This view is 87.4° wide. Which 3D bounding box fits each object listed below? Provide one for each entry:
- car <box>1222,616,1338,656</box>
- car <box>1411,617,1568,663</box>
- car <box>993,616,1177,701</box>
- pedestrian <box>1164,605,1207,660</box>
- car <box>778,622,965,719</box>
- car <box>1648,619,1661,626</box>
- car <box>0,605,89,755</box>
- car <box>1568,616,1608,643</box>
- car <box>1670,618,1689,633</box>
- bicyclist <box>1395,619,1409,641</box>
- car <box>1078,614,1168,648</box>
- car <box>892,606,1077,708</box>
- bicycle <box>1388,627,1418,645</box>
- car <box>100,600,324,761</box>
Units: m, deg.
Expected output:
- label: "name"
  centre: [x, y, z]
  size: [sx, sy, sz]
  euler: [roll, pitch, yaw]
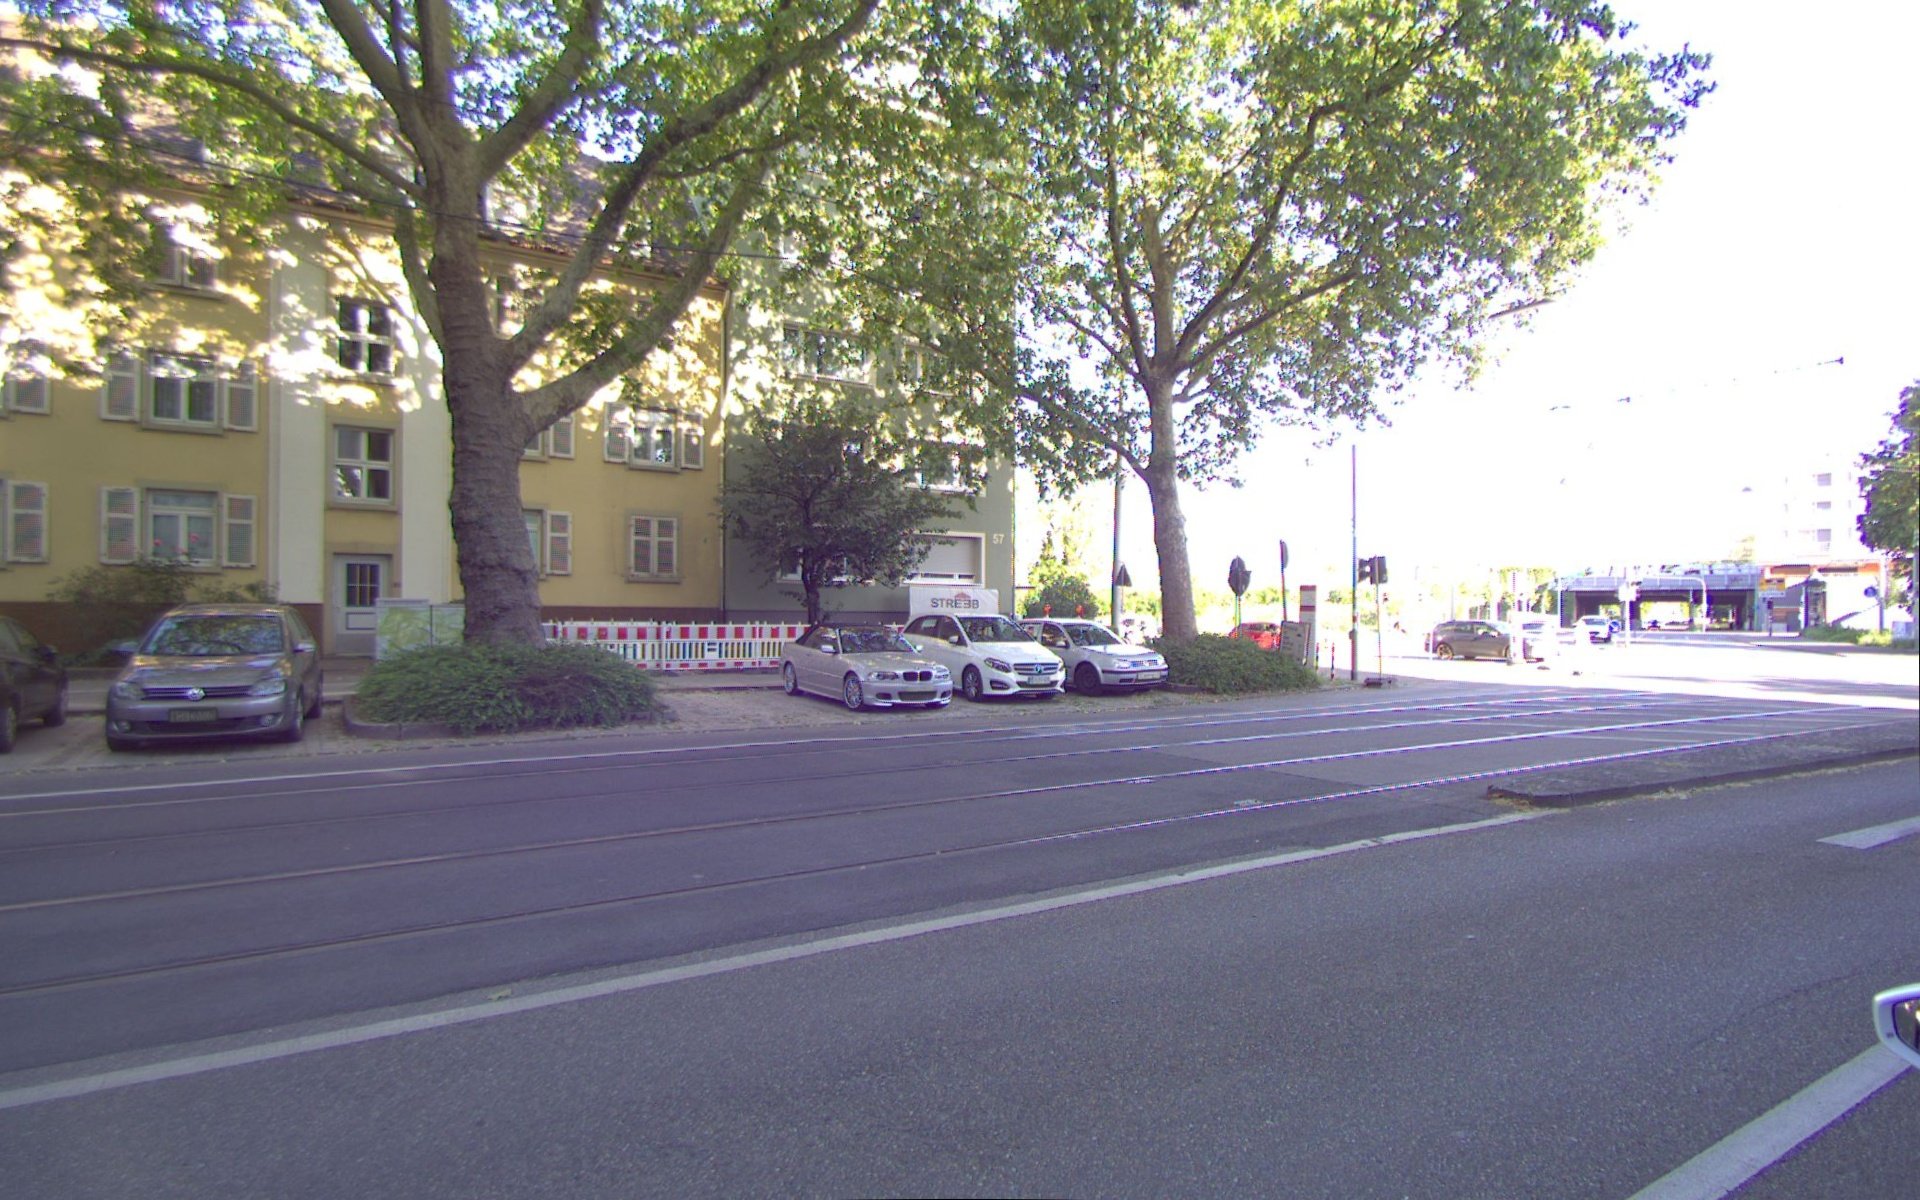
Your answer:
- label: "car"
  centre: [13.892, 1.531, 43.691]
  size: [4.419, 1.586, 2.015]
  euler: [0, -1, 37]
- label: "car"
  centre: [18.821, 1.374, 35.918]
  size: [1.916, 1.493, 4.705]
  euler: [1, -1, -29]
- label: "car"
  centre: [2.442, 1.112, 20.529]
  size: [1.651, 1.473, 3.949]
  euler: [1, 0, -31]
- label: "pedestrian"
  centre: [6.930, 0.993, 30.890]
  size: [0.919, 1.669, 0.841]
  euler: [2, 0, -30]
- label: "car"
  centre: [-1.649, 1.110, 17.309]
  size: [1.651, 1.370, 3.949]
  euler: [1, 0, -31]
- label: "car"
  centre: [116.408, 3.751, 168.441]
  size: [1.555, 1.277, 3.421]
  euler: [0, -1, 30]
- label: "car"
  centre: [-11.464, 0.834, 11.385]
  size: [1.652, 1.518, 3.778]
  euler: [1, 0, -29]
- label: "car"
  centre: [40.282, 1.873, 64.433]
  size: [1.860, 1.606, 3.823]
  euler: [2, 0, 37]
- label: "car"
  centre: [83.514, 2.978, 116.669]
  size: [1.731, 1.706, 3.729]
  euler: [2, 0, 36]
- label: "bicyclist"
  centre: [24.647, 1.683, 56.012]
  size: [0.520, 1.239, 0.526]
  euler: [1, 0, -11]
- label: "car"
  centre: [8.404, 1.596, 51.900]
  size: [4.128, 1.572, 1.991]
  euler: [2, 0, 36]
- label: "car"
  centre: [0.351, 0.985, 19.154]
  size: [1.651, 1.669, 3.949]
  euler: [1, 0, -31]
- label: "bicycle"
  centre: [24.715, 2.013, 56.026]
  size: [1.549, 0.995, 0.526]
  euler: [1, 0, -12]
- label: "car"
  centre: [-8.979, 0.834, 12.381]
  size: [1.652, 1.602, 3.953]
  euler: [1, 0, -29]
